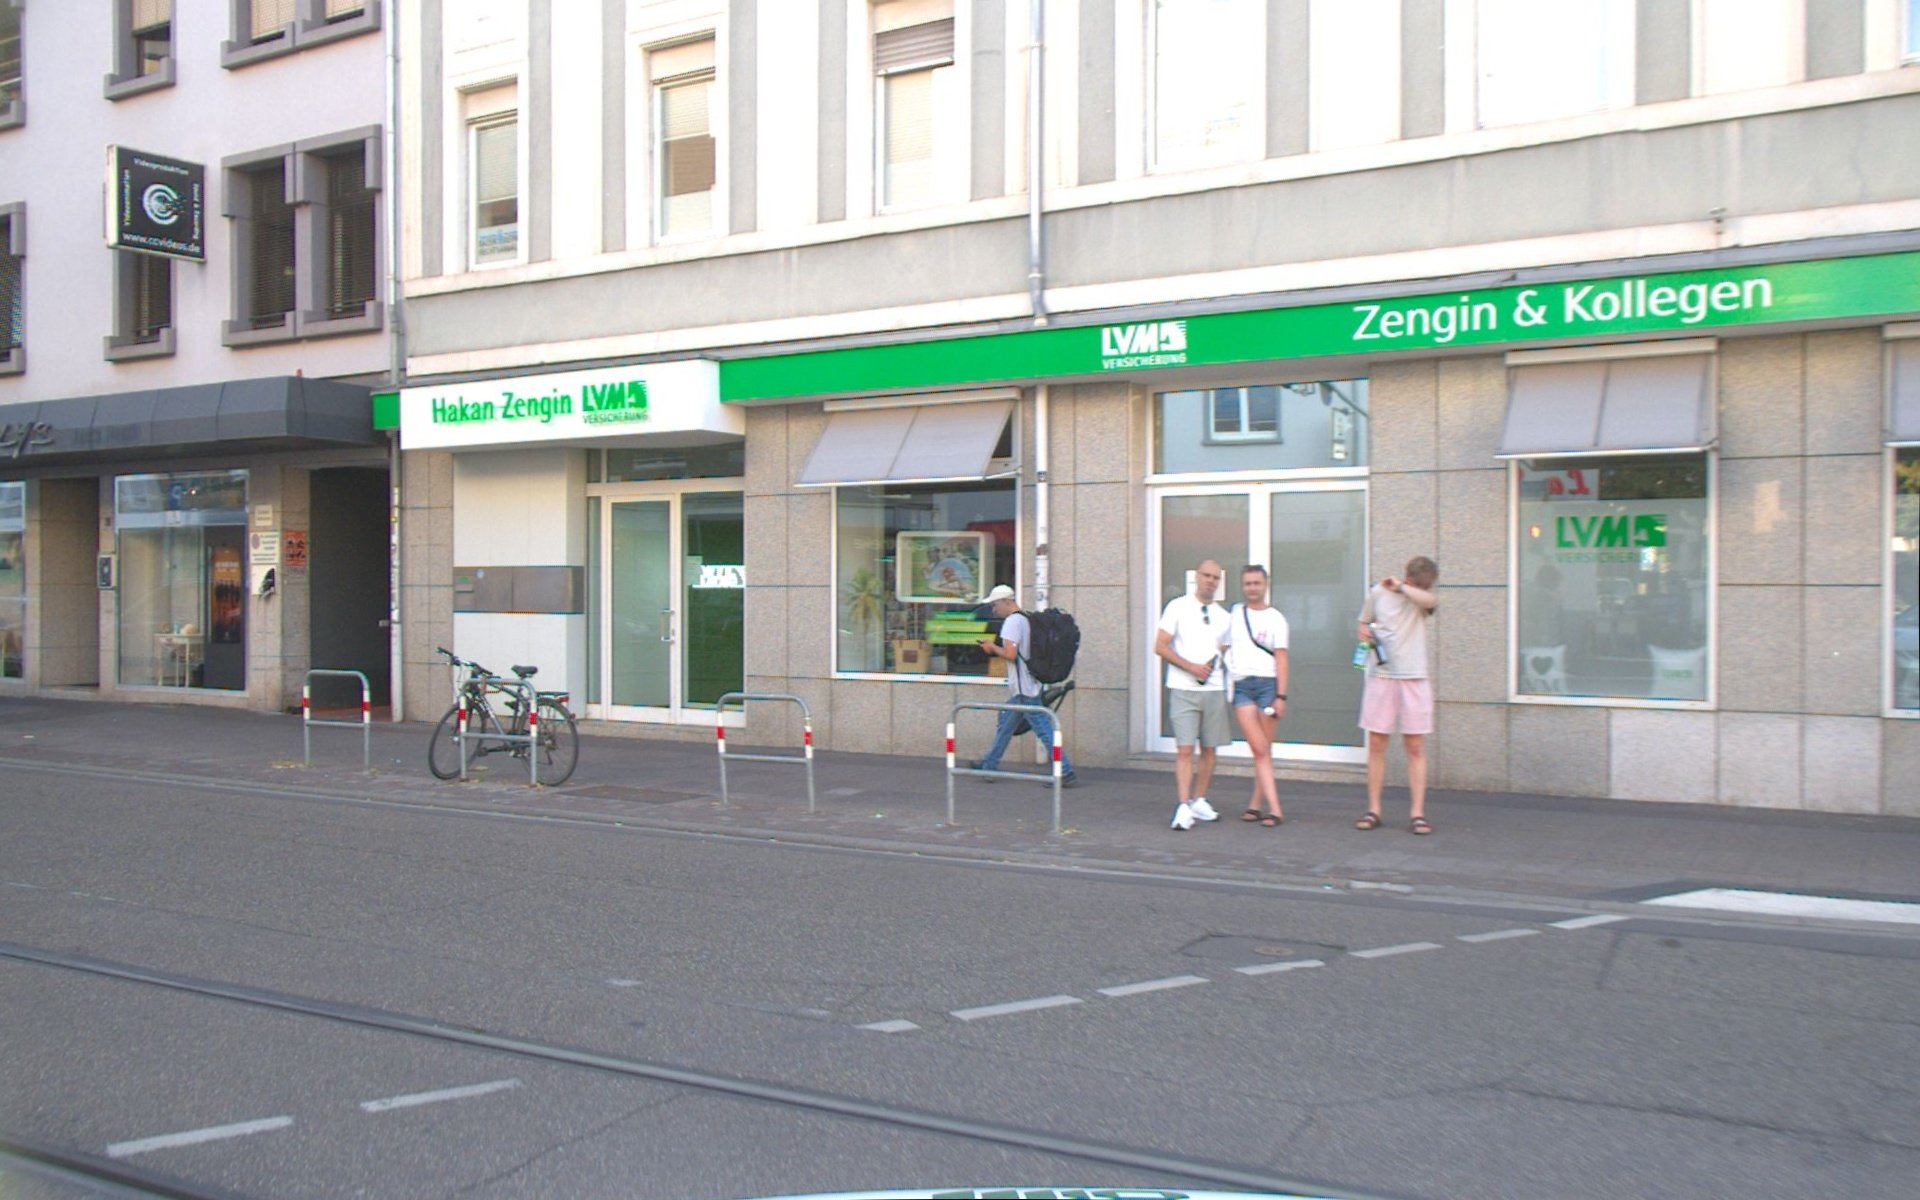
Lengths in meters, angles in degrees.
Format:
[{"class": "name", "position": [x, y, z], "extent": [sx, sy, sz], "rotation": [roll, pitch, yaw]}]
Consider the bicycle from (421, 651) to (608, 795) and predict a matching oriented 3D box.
[{"class": "bicycle", "position": [-3.733, 1.003, 13.822], "extent": [1.611, 1.108, 0.478], "rotation": [0, 2, 29]}]

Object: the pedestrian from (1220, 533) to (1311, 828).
[{"class": "pedestrian", "position": [2.102, 0.530, 11.359], "extent": [0.517, 1.962, 0.640], "rotation": [0, 0, 20]}]

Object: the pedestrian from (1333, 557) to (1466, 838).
[{"class": "pedestrian", "position": [2.905, 0.611, 10.915], "extent": [0.685, 1.775, 0.638], "rotation": [0, 0, 34]}]

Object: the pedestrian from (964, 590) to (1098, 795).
[{"class": "pedestrian", "position": [0.572, 0.711, 13.284], "extent": [0.852, 1.575, 0.697], "rotation": [0, 0, 34]}]

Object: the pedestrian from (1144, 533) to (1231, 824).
[{"class": "pedestrian", "position": [1.582, 0.524, 11.484], "extent": [0.484, 1.962, 0.576], "rotation": [0, 0, 21]}]
